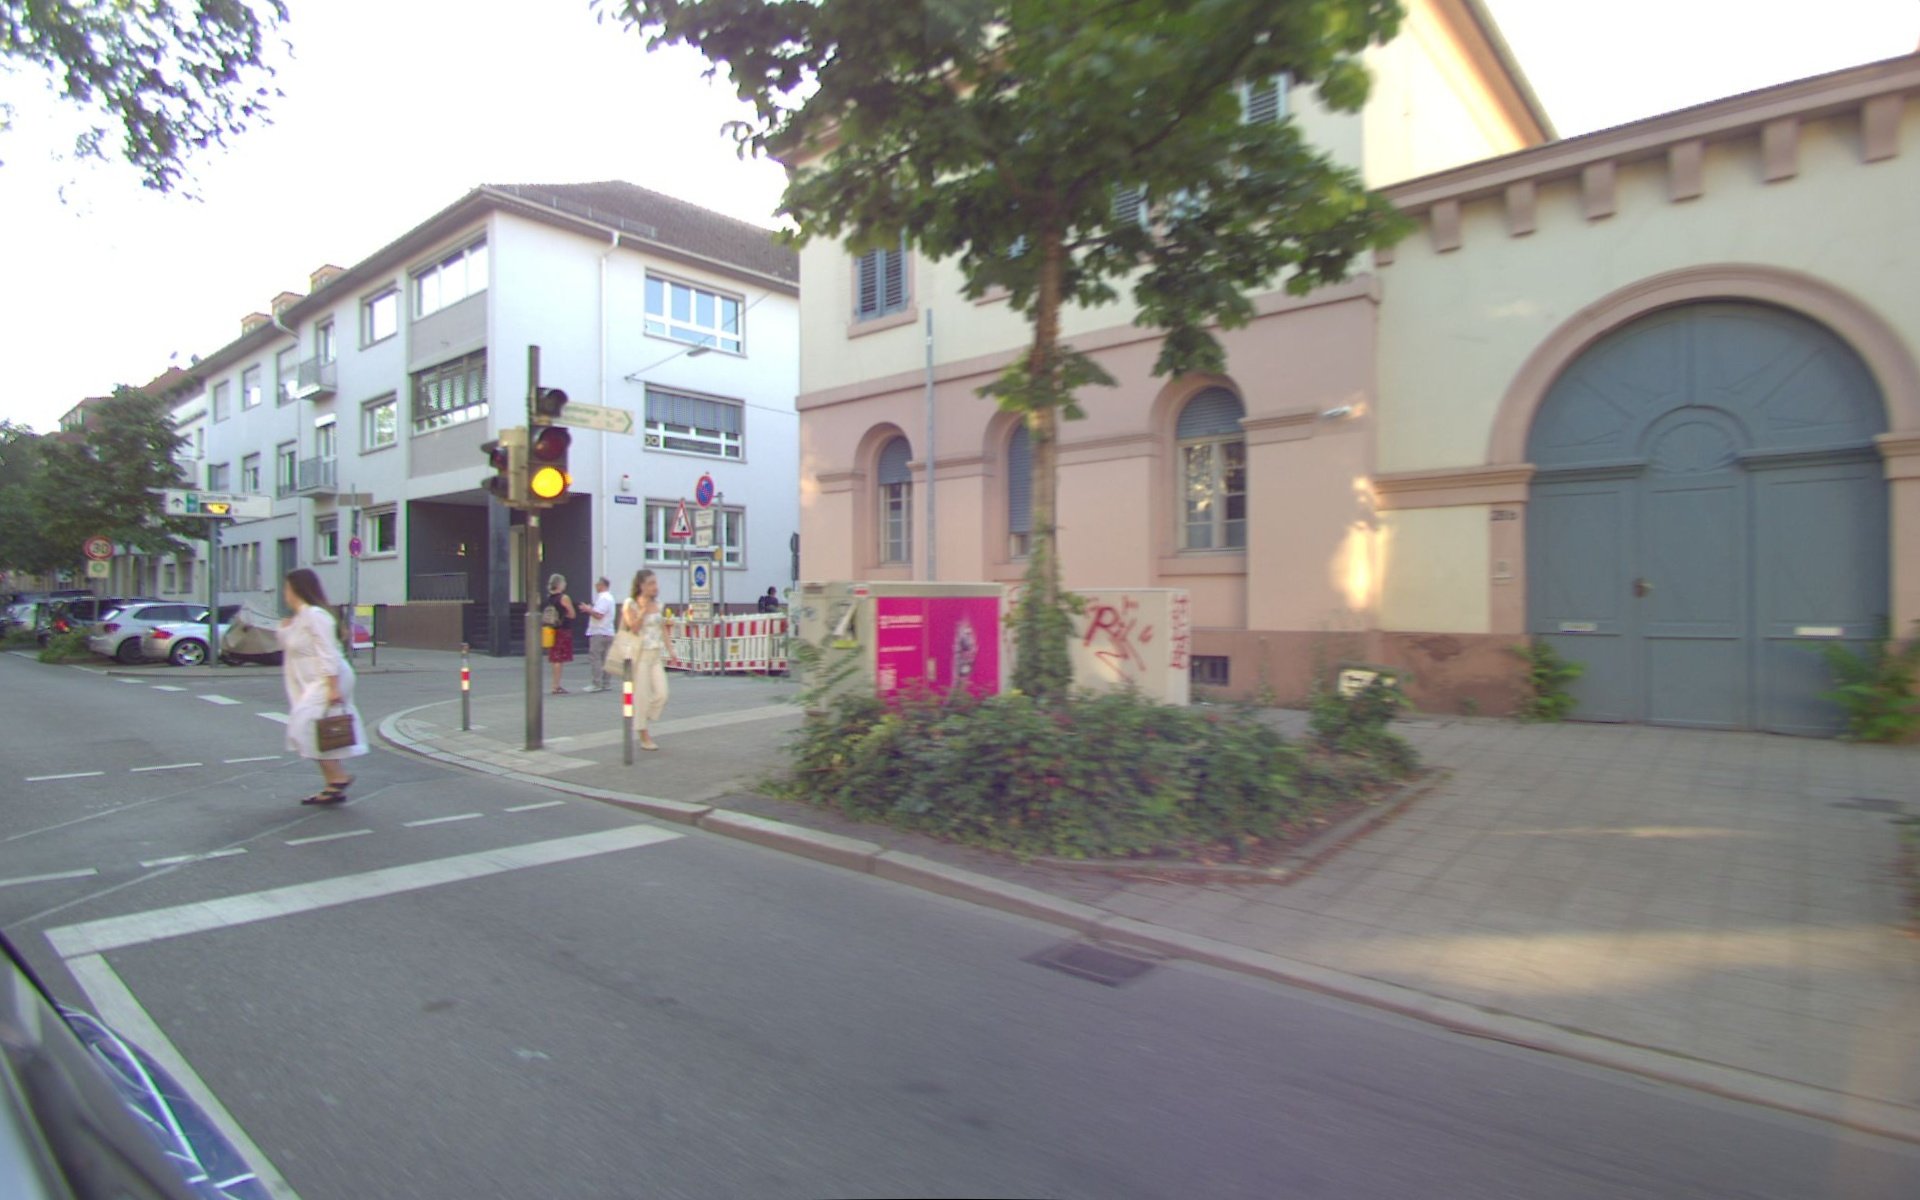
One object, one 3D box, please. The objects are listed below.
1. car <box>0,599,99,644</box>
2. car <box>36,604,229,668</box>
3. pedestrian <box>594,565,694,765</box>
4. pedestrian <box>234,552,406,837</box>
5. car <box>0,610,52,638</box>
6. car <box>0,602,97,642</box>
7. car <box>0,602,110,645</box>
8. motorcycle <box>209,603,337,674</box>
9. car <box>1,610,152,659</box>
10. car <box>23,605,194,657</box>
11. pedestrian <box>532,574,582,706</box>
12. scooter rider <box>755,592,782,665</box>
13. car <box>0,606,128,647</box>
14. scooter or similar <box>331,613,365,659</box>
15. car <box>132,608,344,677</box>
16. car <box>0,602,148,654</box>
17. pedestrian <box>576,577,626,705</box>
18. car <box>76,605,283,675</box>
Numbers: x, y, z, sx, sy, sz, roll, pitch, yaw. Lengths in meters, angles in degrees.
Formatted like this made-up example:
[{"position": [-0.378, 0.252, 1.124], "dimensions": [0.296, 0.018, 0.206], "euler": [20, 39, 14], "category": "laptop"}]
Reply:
[{"position": [-43.397, 0.979, 46.998], "dimensions": [2.188, 2.006, 4.940], "euler": [-1, -1, 40], "category": "car"}, {"position": [-23.742, 0.983, 29.140], "dimensions": [1.935, 1.644, 4.049], "euler": [-1, 0, 42], "category": "car"}, {"position": [-3.055, 0.592, 9.752], "dimensions": [0.779, 1.804, 0.773], "euler": [-3, 1, -22], "category": "pedestrian"}, {"position": [-4.614, 0.638, 7.315], "dimensions": [0.789, 1.902, 0.763], "euler": [-1, -1, 29], "category": "pedestrian"}, {"position": [-52.694, 1.331, 55.233], "dimensions": [1.715, 1.417, 4.383], "euler": [1, 2, 37], "category": "car"}, {"position": [-41.433, 0.972, 45.073], "dimensions": [1.929, 1.584, 4.310], "euler": [-1, 2, 41], "category": "car"}, {"position": [-39.172, 1.007, 43.207], "dimensions": [1.823, 1.603, 4.112], "euler": [-1, 2, 41], "category": "car"}, {"position": [-14.460, 0.798, 21.399], "dimensions": [2.118, 1.430, 0.971], "euler": [1, -1, -28], "category": "motorcycle"}, {"position": [-31.965, 1.202, 36.691], "dimensions": [1.781, 1.505, 3.984], "euler": [-1, 1, 44], "category": "car"}, {"position": [-27.648, 0.959, 32.955], "dimensions": [1.754, 1.451, 4.032], "euler": [-1, 1, 42], "category": "car"}, {"position": [-5.896, 0.572, 14.800], "dimensions": [0.546, 1.864, 0.613], "euler": [0, -1, -35], "category": "pedestrian"}, {"position": [-4.777, 0.705, 25.310], "dimensions": [0.489, 1.805, 0.874], "euler": [0, -1, 3], "category": "scooter rider"}, {"position": [-35.650, 1.045, 40.149], "dimensions": [1.854, 1.462, 3.805], "euler": [-2, -1, 41], "category": "car"}, {"position": [-17.564, 1.022, 29.046], "dimensions": [0.509, 1.271, 1.421], "euler": [-1, 1, -45], "category": "scooter or similar"}, {"position": [-16.576, 0.911, 23.325], "dimensions": [1.845, 1.321, 3.697], "euler": [-1, 1, 45], "category": "car"}, {"position": [-33.825, 0.999, 38.231], "dimensions": [2.155, 1.778, 4.618], "euler": [-1, 0, 40], "category": "car"}, {"position": [-5.356, 0.595, 15.086], "dimensions": [0.546, 1.864, 0.613], "euler": [0, -1, -35], "category": "pedestrian"}, {"position": [-18.988, 0.913, 24.734], "dimensions": [1.734, 1.469, 3.704], "euler": [-1, 1, 40], "category": "car"}]
